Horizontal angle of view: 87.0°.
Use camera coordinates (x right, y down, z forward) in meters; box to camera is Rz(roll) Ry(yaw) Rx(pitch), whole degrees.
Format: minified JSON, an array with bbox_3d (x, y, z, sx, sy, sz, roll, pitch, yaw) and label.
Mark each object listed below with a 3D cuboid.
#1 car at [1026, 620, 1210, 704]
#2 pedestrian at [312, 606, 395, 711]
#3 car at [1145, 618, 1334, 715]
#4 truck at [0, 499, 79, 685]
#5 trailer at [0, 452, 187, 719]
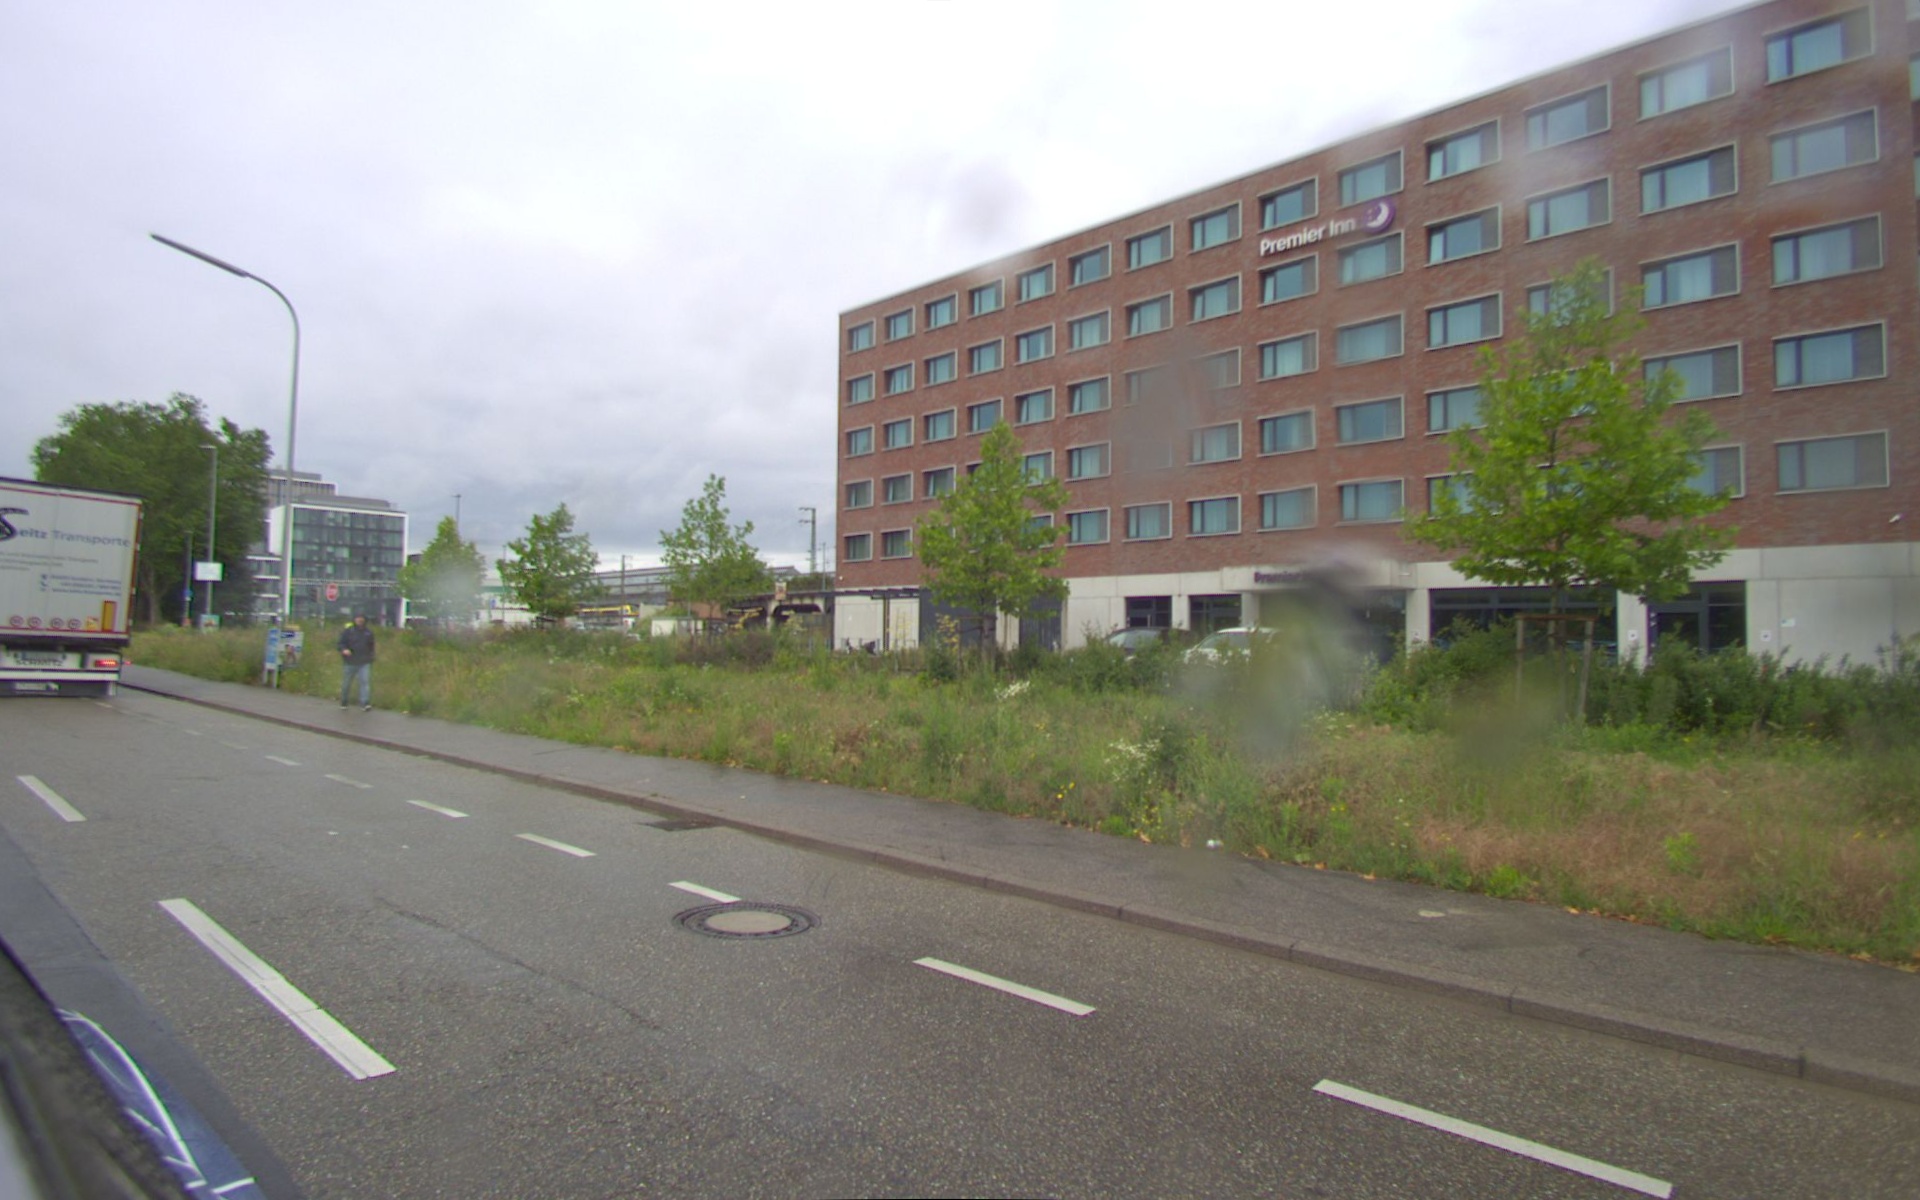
[{"bbox_3d":[3.529,1.298,21.905,1.997,1.592,4.477,0,-3,38],"label":"car"},{"bbox_3d":[-10.399,0.978,17.357,1.026,1.731,0.899,-1,-3,41],"label":"pedestrian"},{"bbox_3d":[5.556,1.240,19.723,1.997,1.654,4.477,0,-3,38],"label":"car"},{"bbox_3d":[-26.710,-0.183,27.402,6.028,4.689,3.260,-1,-3,40],"label":"truck"},{"bbox_3d":[-21.483,-0.140,22.973,13.723,4.689,3.260,-1,-3,40],"label":"trailer"}]
